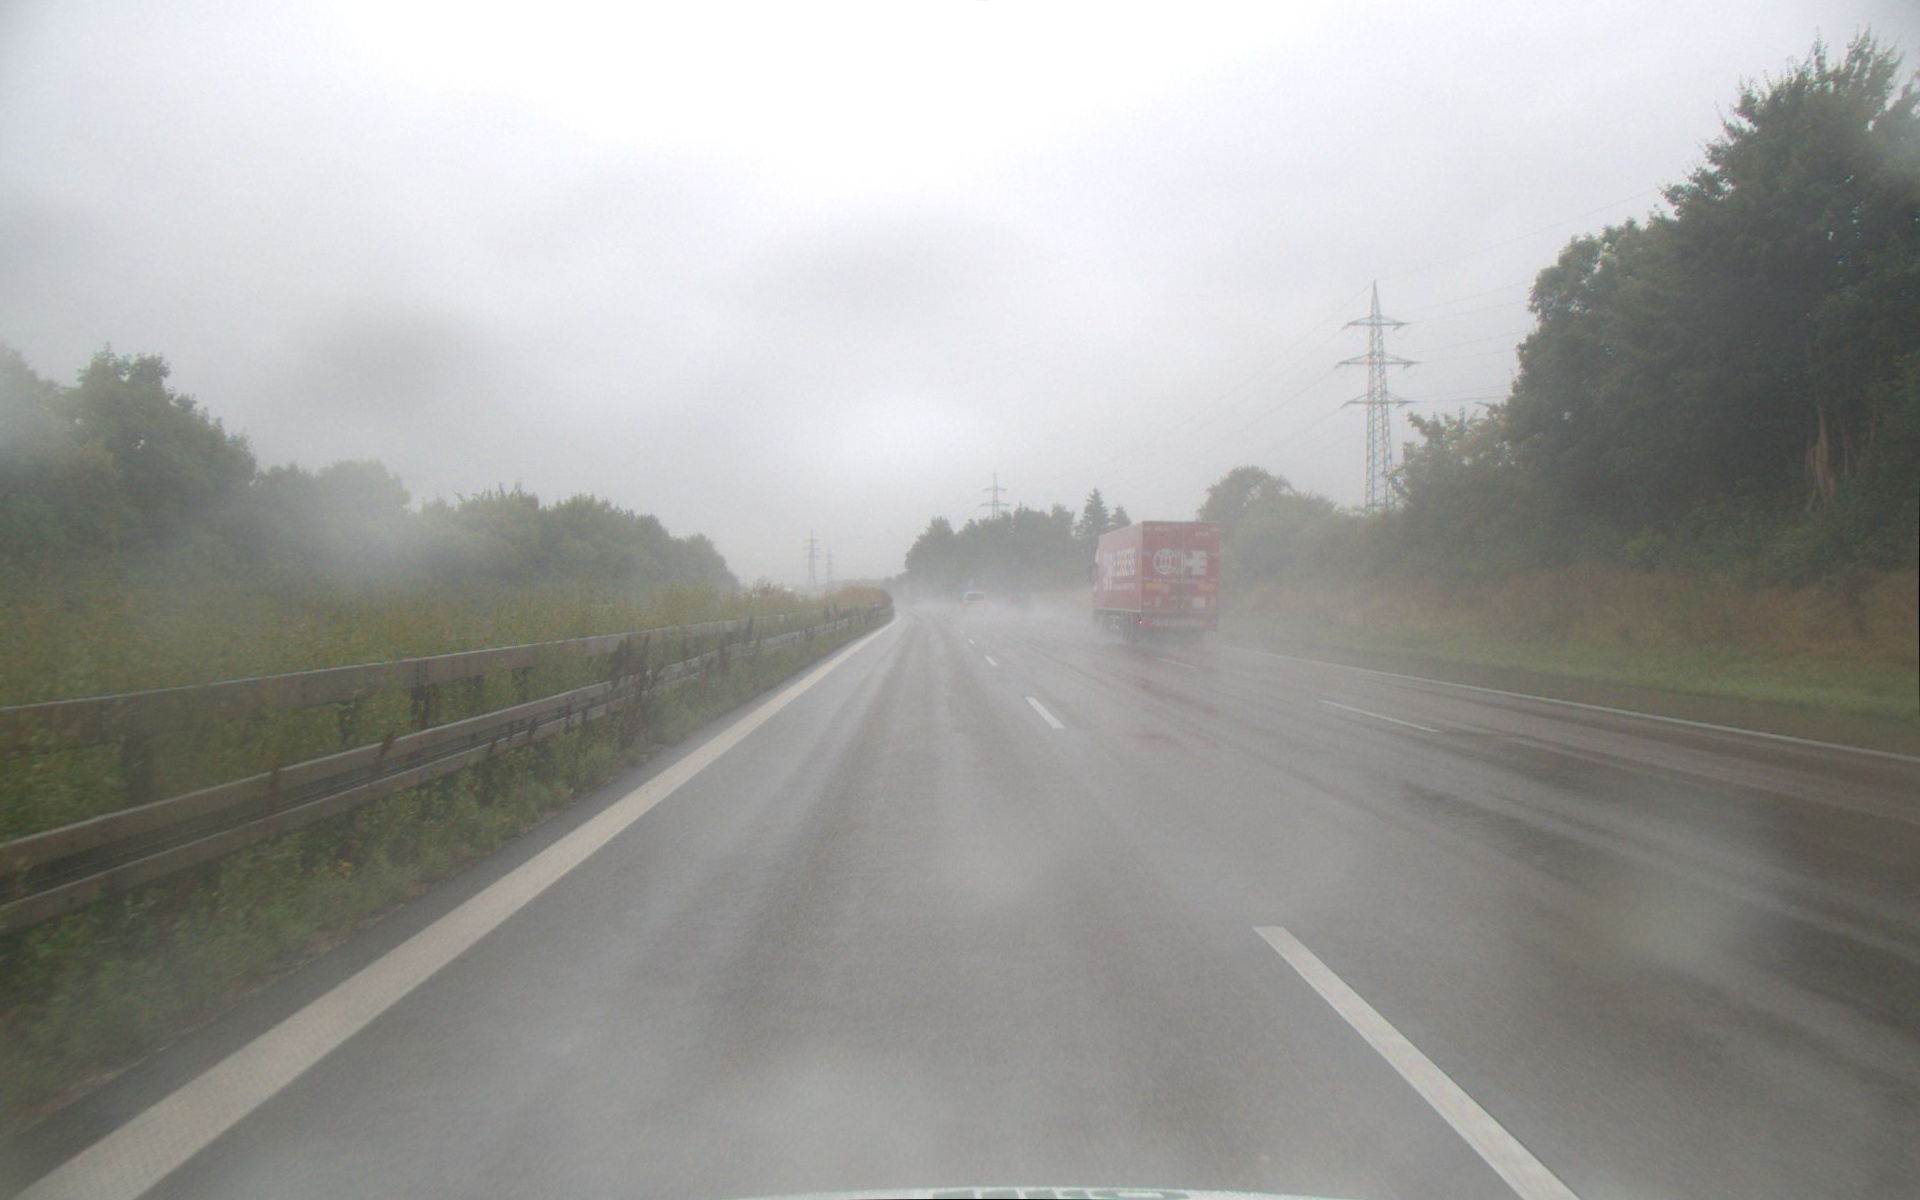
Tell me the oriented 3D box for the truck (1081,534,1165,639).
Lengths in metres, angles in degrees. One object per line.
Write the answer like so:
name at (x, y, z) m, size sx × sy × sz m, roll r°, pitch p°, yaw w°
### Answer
truck at (6.648, -0.535, 68.195) m, size 2.568 × 4.024 × 5.430 m, roll -3°, pitch 0°, yaw -2°

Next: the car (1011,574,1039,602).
car at (5.327, -0.973, 136.470) m, size 1.772 × 2.196 × 3.996 m, roll -2°, pitch 0°, yaw -4°

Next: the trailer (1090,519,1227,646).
trailer at (6.993, -0.554, 60.623) m, size 2.568 × 4.024 × 13.622 m, roll -3°, pitch 0°, yaw -3°
